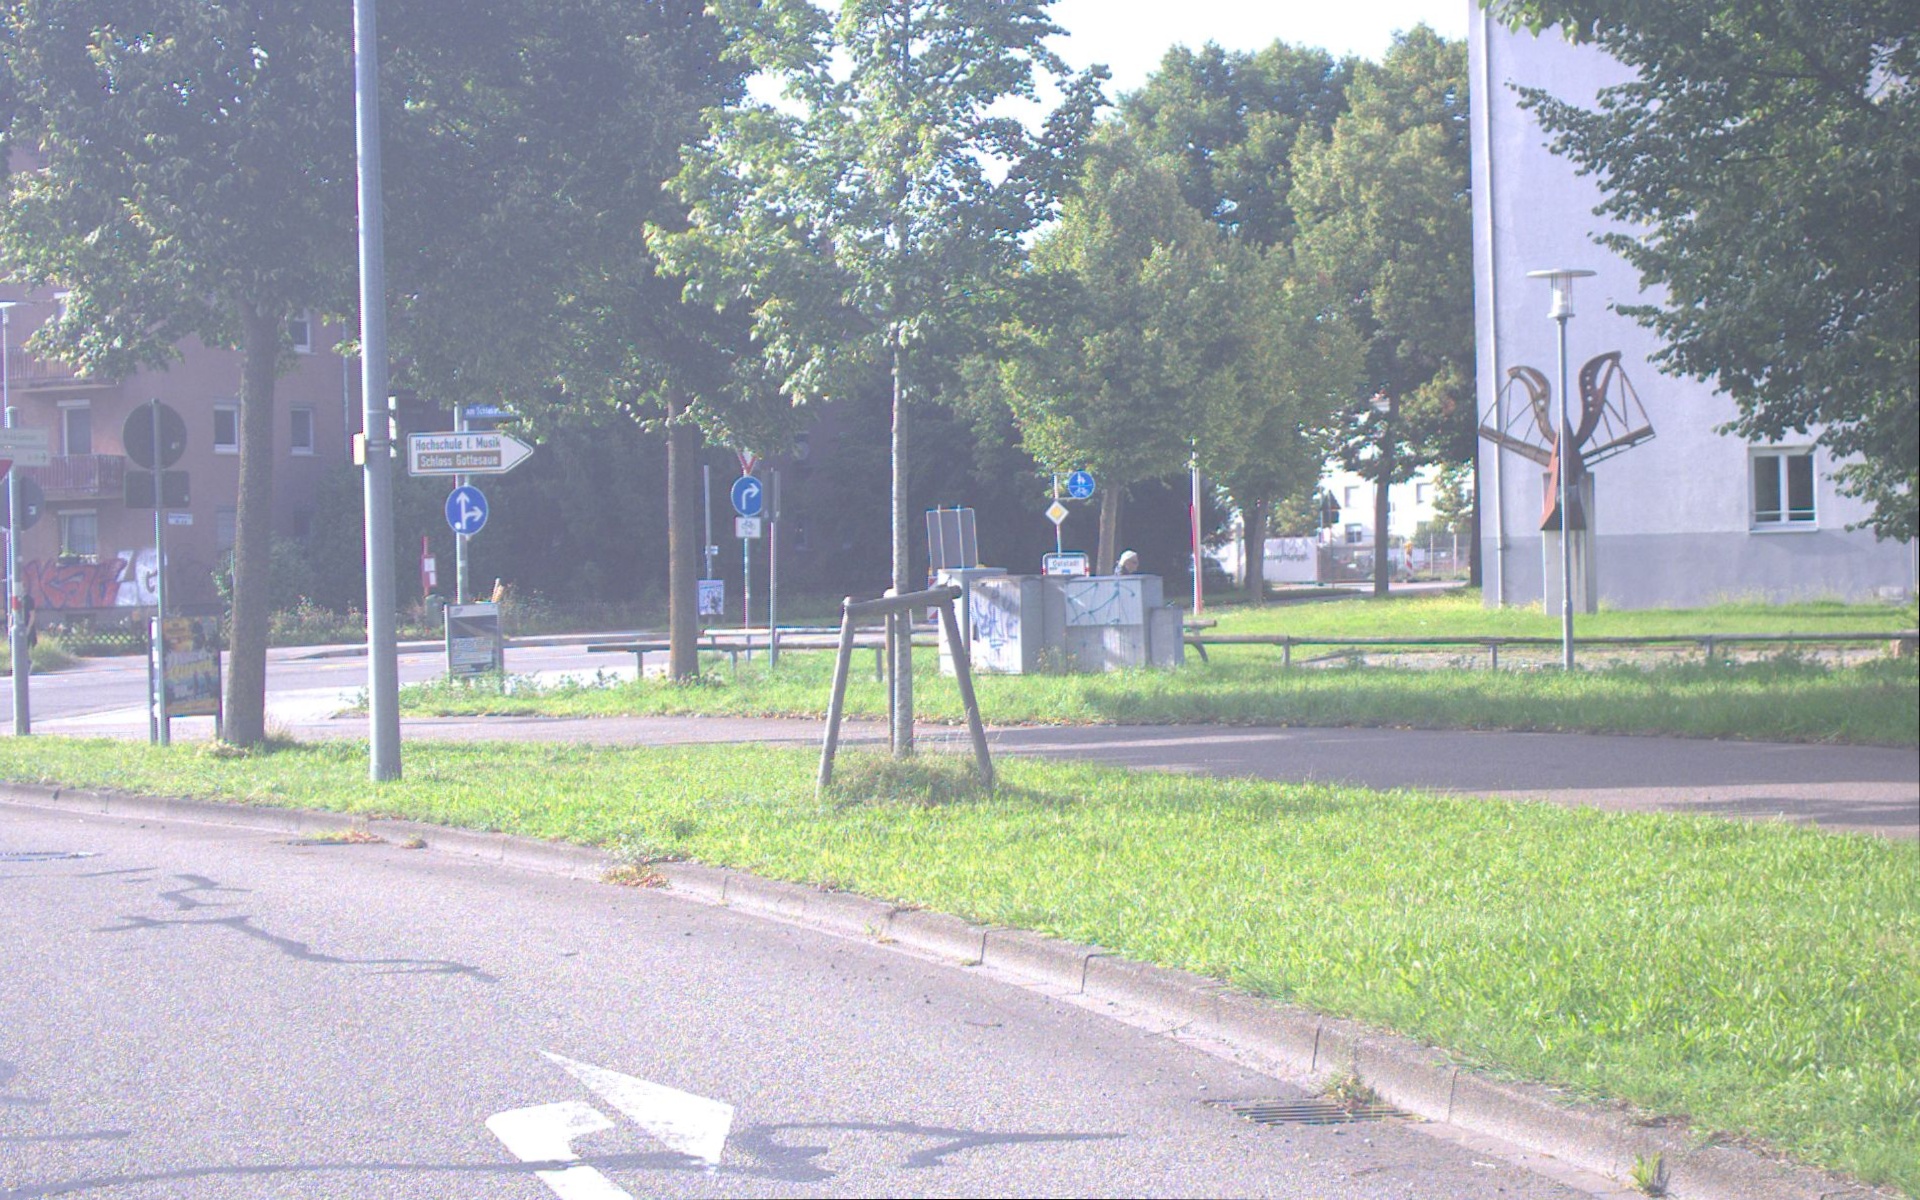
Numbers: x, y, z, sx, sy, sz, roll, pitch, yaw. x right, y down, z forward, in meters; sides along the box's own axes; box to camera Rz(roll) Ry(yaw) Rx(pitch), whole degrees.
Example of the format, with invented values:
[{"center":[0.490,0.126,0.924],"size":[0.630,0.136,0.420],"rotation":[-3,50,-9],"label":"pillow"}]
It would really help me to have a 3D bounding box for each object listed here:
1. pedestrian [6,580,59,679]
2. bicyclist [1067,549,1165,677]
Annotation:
[{"center":[-17.770,0.553,65.880],"size":[0.667,1.864,0.835],"rotation":[-1,0,7],"label":"pedestrian"},{"center":[1.948,0.152,42.848],"size":[0.958,1.569,0.771],"rotation":[0,1,32],"label":"bicyclist"}]
